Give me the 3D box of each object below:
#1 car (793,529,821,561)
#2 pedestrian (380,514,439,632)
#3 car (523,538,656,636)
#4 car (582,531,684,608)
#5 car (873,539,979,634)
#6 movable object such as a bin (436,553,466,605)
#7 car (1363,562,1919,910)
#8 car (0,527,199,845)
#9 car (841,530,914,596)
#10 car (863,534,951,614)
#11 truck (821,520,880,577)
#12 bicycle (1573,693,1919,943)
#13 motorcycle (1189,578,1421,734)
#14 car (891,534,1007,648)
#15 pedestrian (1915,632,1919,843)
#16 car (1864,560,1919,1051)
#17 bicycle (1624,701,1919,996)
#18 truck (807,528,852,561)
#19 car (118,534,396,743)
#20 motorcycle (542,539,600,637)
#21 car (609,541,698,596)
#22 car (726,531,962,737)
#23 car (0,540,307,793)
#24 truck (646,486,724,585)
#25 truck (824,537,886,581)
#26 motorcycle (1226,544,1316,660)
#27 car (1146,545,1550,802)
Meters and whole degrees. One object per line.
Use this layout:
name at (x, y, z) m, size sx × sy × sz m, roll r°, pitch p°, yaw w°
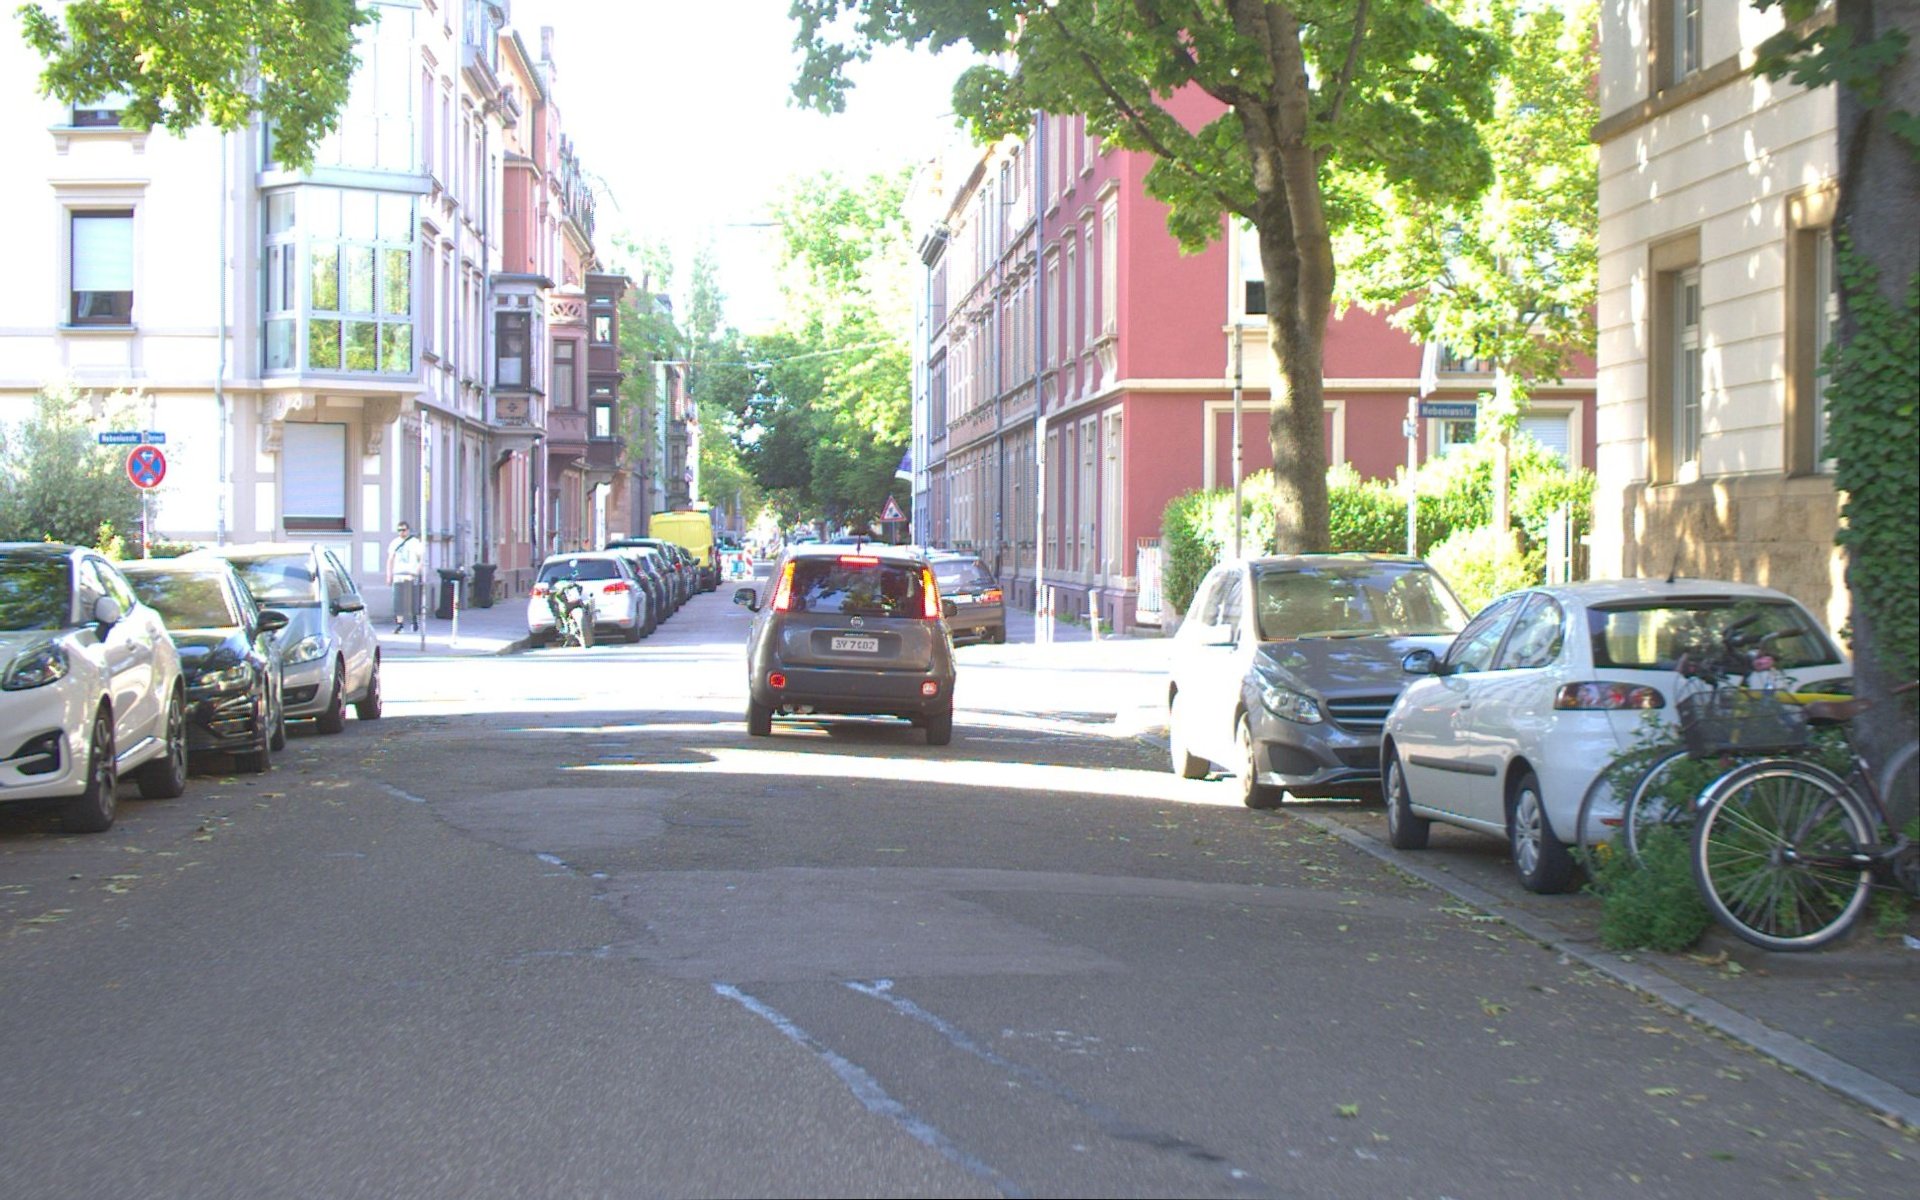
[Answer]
car at (-7.824, -2.806, 175.882) m, size 1.367 × 1.612 × 3.414 m, roll 0°, pitch 1°, yaw -2°
pedestrian at (-8.703, -0.437, 54.361) m, size 0.723 × 1.833 × 0.626 m, roll 2°, pitch 1°, yaw 8°
car at (-5.968, -0.243, 55.732) m, size 1.797 × 1.427 × 3.925 m, roll -3°, pitch 1°, yaw -2°
car at (-6.826, -0.658, 72.114) m, size 1.828 × 1.474 × 3.925 m, roll -3°, pitch 1°, yaw -2°
car at (-0.597, -0.252, 58.001) m, size 1.663 × 1.500 × 3.757 m, roll 1°, pitch 1°, yaw -2°
movable object such as a bin at (-9.400, -0.395, 63.481) m, size 0.511 × 0.949 × 0.501 m, roll 0°, pitch 1°, yaw -5°
car at (3.247, 0.575, 16.997) m, size 1.610 × 1.473 × 3.871 m, roll 0°, pitch 1°, yaw -7°
car at (-5.441, 0.430, 18.976) m, size 1.824 × 1.548 × 4.134 m, roll -4°, pitch 1°, yaw -5°
car at (-2.002, -0.900, 82.638) m, size 1.663 × 1.500 × 3.757 m, roll 1°, pitch 1°, yaw -2°
car at (-1.097, -0.549, 68.989) m, size 1.663 × 1.500 × 3.757 m, roll 1°, pitch 1°, yaw -2°
truck at (-3.903, -1.849, 122.195) m, size 1.993 × 1.985 × 4.001 m, roll 0°, pitch 1°, yaw -3°
bicycle at (3.450, 0.881, 14.118) m, size 1.715 × 0.946 × 0.733 m, roll -1°, pitch 1°, yaw -2°
motorcycle at (2.845, 0.458, 28.328) m, size 1.851 × 1.262 × 0.504 m, roll 0°, pitch 1°, yaw 12°
car at (-0.202, -0.174, 53.519) m, size 1.663 × 1.663 × 3.757 m, roll 1°, pitch 1°, yaw -2°
pedestrian at (5.554, 0.474, 18.085) m, size 0.778 × 1.688 × 0.874 m, roll 1°, pitch 1°, yaw 0°
car at (3.764, 0.660, 9.376) m, size 1.520 × 1.505 × 3.544 m, roll 0°, pitch 1°, yaw -2°
bicycle at (3.448, 0.928, 12.895) m, size 1.769 × 1.036 × 0.606 m, roll 1°, pitch 1°, yaw -2°
truck at (-5.959, -2.538, 156.331) m, size 1.993 × 1.451 × 4.001 m, roll 0°, pitch 1°, yaw -3°
car at (-5.852, 0.266, 29.010) m, size 1.696 × 1.545 × 3.920 m, roll -3°, pitch 1°, yaw -4°
motorcycle at (-5.938, -0.199, 52.433) m, size 0.696 × 1.455 × 1.751 m, roll -1°, pitch 1°, yaw -12°
car at (-7.681, -0.806, 86.540) m, size 1.961 × 1.220 × 3.925 m, roll -3°, pitch 1°, yaw -2°
car at (-0.992, 0.226, 27.827) m, size 1.632 × 1.545 × 3.265 m, roll 1°, pitch 1°, yaw -6°
car at (-5.568, 0.380, 23.916) m, size 1.746 × 1.469 × 4.465 m, roll -4°, pitch 2°, yaw -8°
truck at (-8.626, -2.035, 108.268) m, size 2.070 × 2.916 × 5.068 m, roll -3°, pitch 1°, yaw -2°
truck at (-3.585, -1.416, 116.829) m, size 1.993 × 1.451 × 4.001 m, roll 0°, pitch 1°, yaw -3°
motorcycle at (4.097, 0.009, 45.169) m, size 1.020 × 1.399 × 2.191 m, roll 0°, pitch 3°, yaw 9°
car at (2.465, 0.412, 22.957) m, size 1.788 × 1.545 × 4.411 m, roll 0°, pitch 1°, yaw -6°
